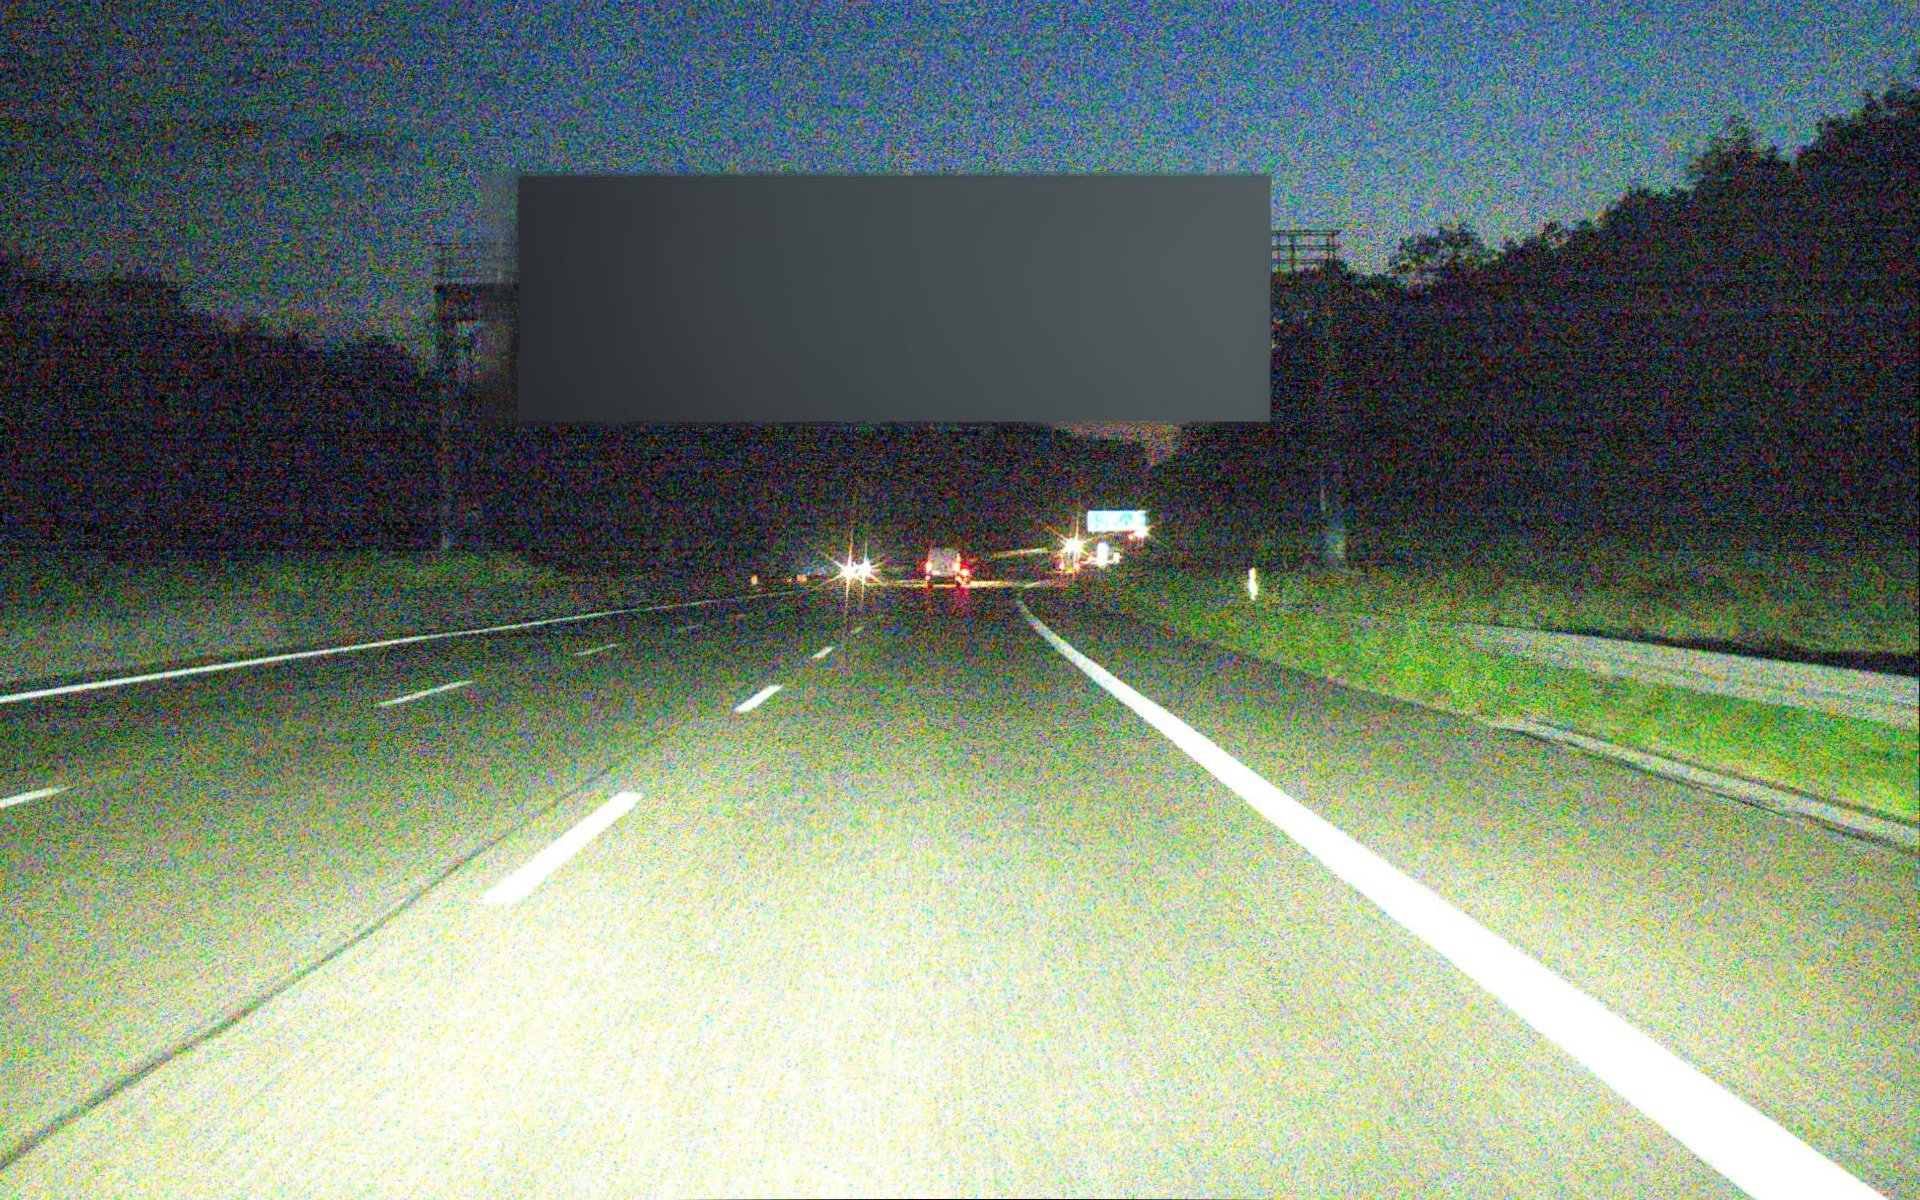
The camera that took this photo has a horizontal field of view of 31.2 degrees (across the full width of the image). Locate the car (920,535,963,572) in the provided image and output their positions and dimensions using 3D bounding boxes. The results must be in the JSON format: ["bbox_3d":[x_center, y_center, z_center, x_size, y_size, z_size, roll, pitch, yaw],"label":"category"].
[{"bbox_3d":[-1.149,-2.974,220.578,2.511,2.306,4.970,0,0,3],"label":"car"}]
